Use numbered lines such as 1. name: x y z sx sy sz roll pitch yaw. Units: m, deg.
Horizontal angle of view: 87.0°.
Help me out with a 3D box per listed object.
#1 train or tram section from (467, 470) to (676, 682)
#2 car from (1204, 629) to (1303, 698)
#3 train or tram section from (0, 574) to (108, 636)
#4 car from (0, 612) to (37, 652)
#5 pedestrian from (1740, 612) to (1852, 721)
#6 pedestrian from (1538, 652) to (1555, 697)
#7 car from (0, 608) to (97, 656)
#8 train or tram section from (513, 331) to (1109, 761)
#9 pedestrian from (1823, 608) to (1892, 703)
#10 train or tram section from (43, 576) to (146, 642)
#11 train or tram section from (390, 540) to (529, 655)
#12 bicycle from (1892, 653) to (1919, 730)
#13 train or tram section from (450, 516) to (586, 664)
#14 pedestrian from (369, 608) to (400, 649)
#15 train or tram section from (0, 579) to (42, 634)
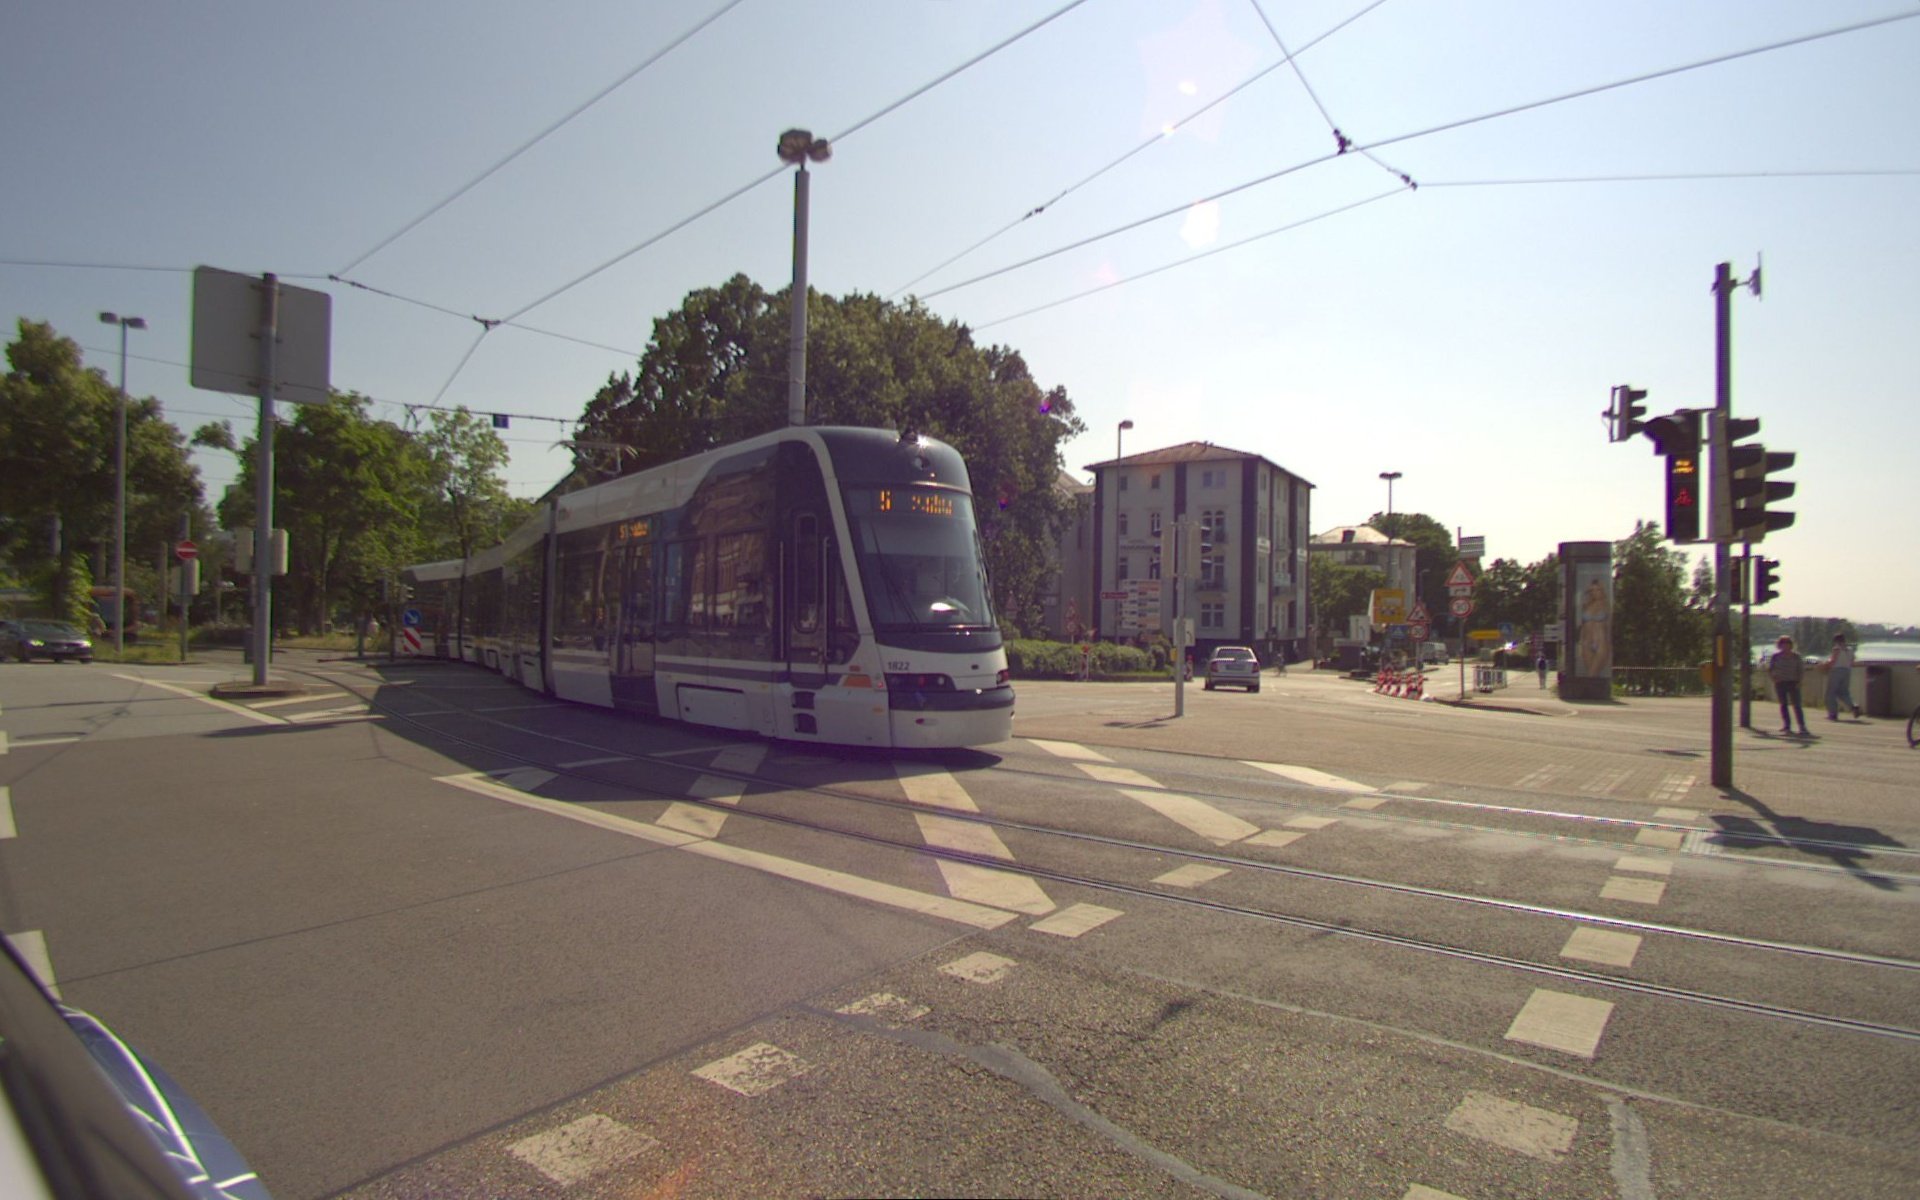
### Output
1. train or tram section: -8.958 -0.297 22.448 2.371 3.709 9.645 1 -2 -33
2. car: 9.660 2.013 33.121 1.995 2.029 3.954 -1 -1 34
3. train or tram section: -54.788 0.369 60.525 12.382 3.429 2.736 0 -2 35
4. car: -35.768 1.168 37.279 3.991 1.422 1.777 0 -2 35
5. pedestrian: 14.394 1.121 17.454 1.141 1.815 0.941 0 -1 -4
6. pedestrian: 31.575 3.996 54.483 0.655 2.372 0.631 -1 -1 22
7. car: -30.835 1.054 33.941 4.737 1.497 1.732 0 -3 36
8. train or tram section: -3.192 -0.346 14.286 2.439 3.806 11.869 2 -2 -40
9. pedestrian: 17.350 1.061 19.581 0.685 1.806 0.701 1 -1 -4
10. train or tram section: -47.391 0.534 55.381 5.870 3.429 2.737 0 -2 34
11. train or tram section: -18.805 -0.004 37.630 2.505 3.806 9.184 2 -2 -40
12. bicycle: 15.095 1.375 15.010 1.892 1.122 0.762 1 -1 -3
13. train or tram section: -13.552 -0.133 30.531 2.502 3.806 9.196 1 -2 -31
14. pedestrian: -32.432 1.586 57.015 0.801 2.166 1.113 -2 5 41
15. train or tram section: -65.344 0.463 67.868 12.380 3.429 2.736 0 -2 35
